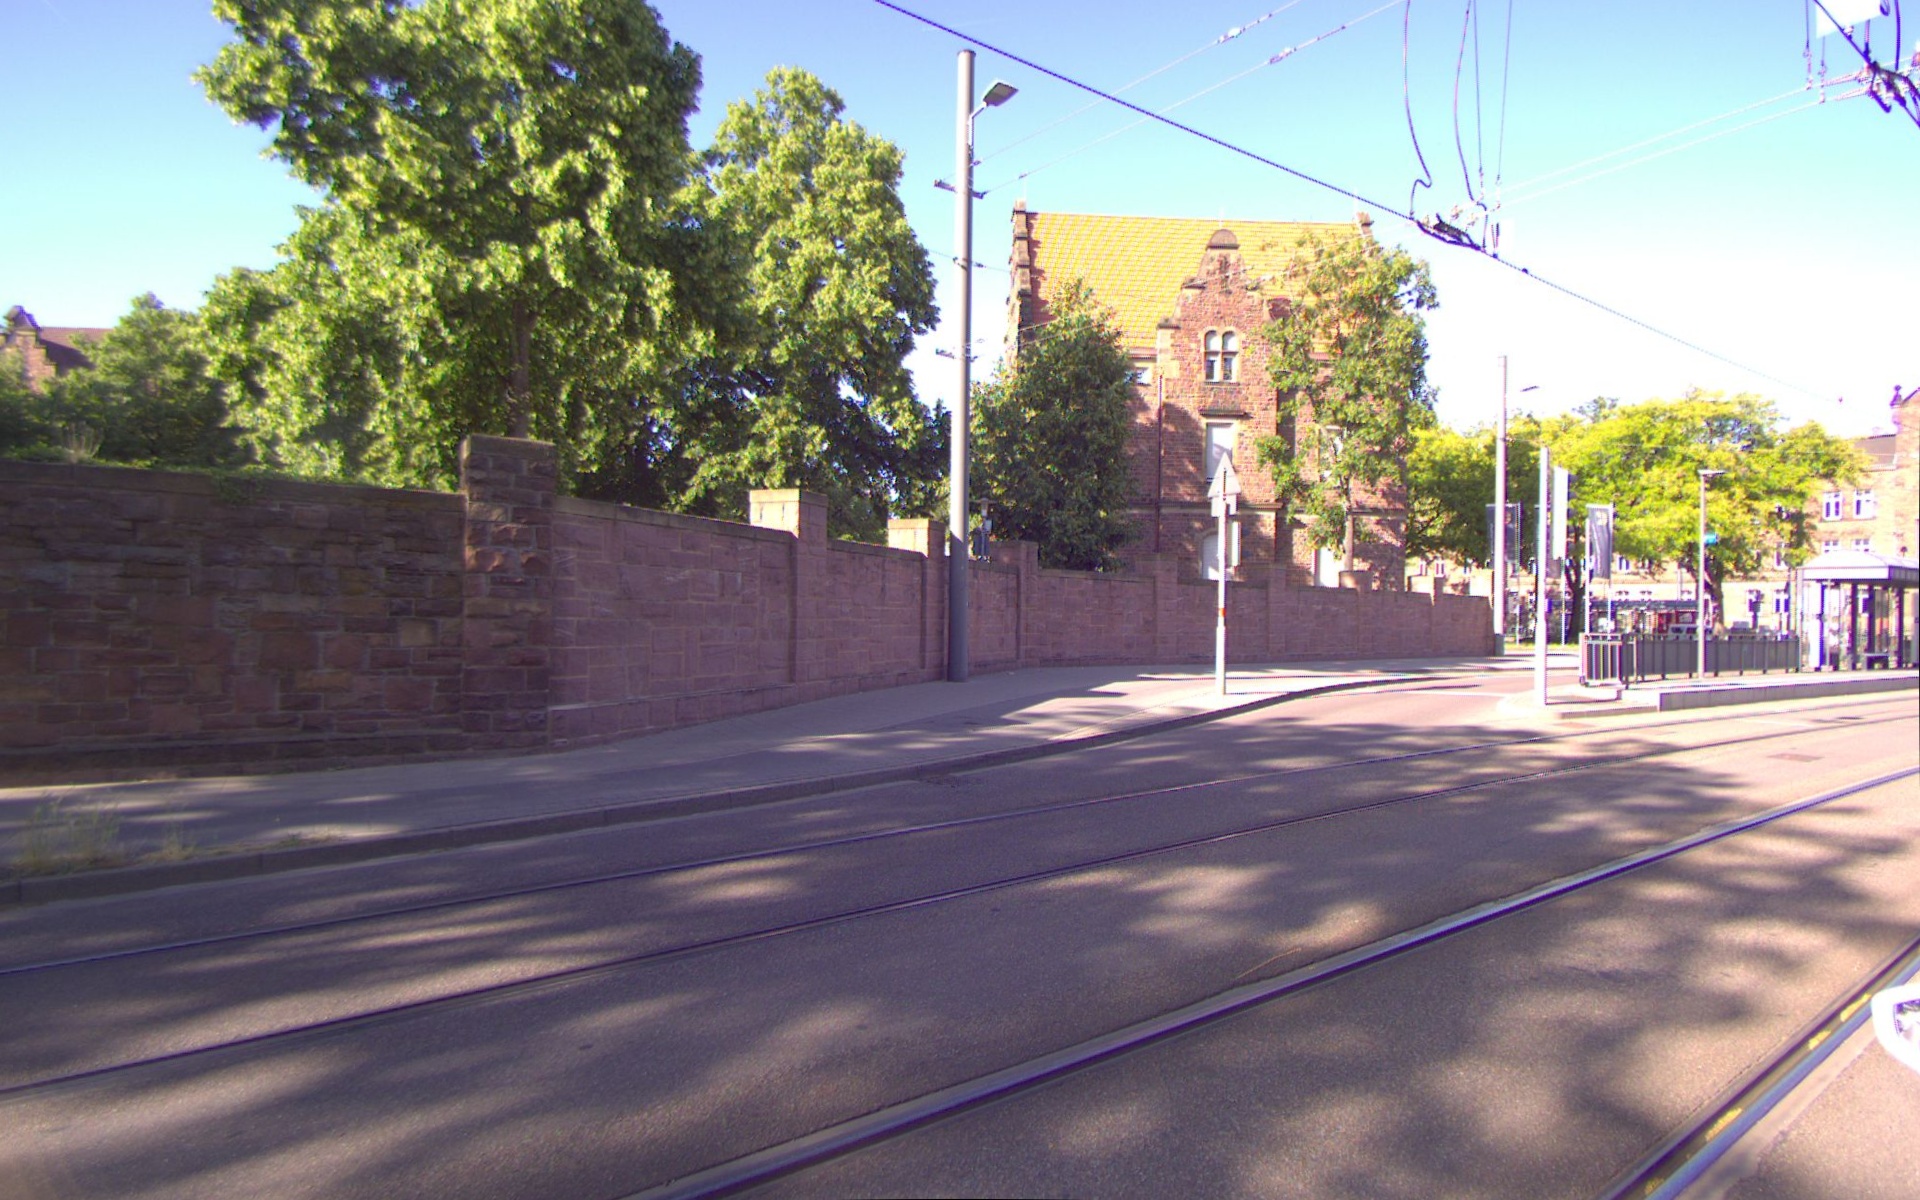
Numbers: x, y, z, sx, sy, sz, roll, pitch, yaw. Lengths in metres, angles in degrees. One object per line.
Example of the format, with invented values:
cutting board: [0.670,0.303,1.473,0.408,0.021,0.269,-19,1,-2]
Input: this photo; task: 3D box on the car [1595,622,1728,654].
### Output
car: [47.921,2.575,68.802,2.957,1.946,6.915,1,-1,-30]
